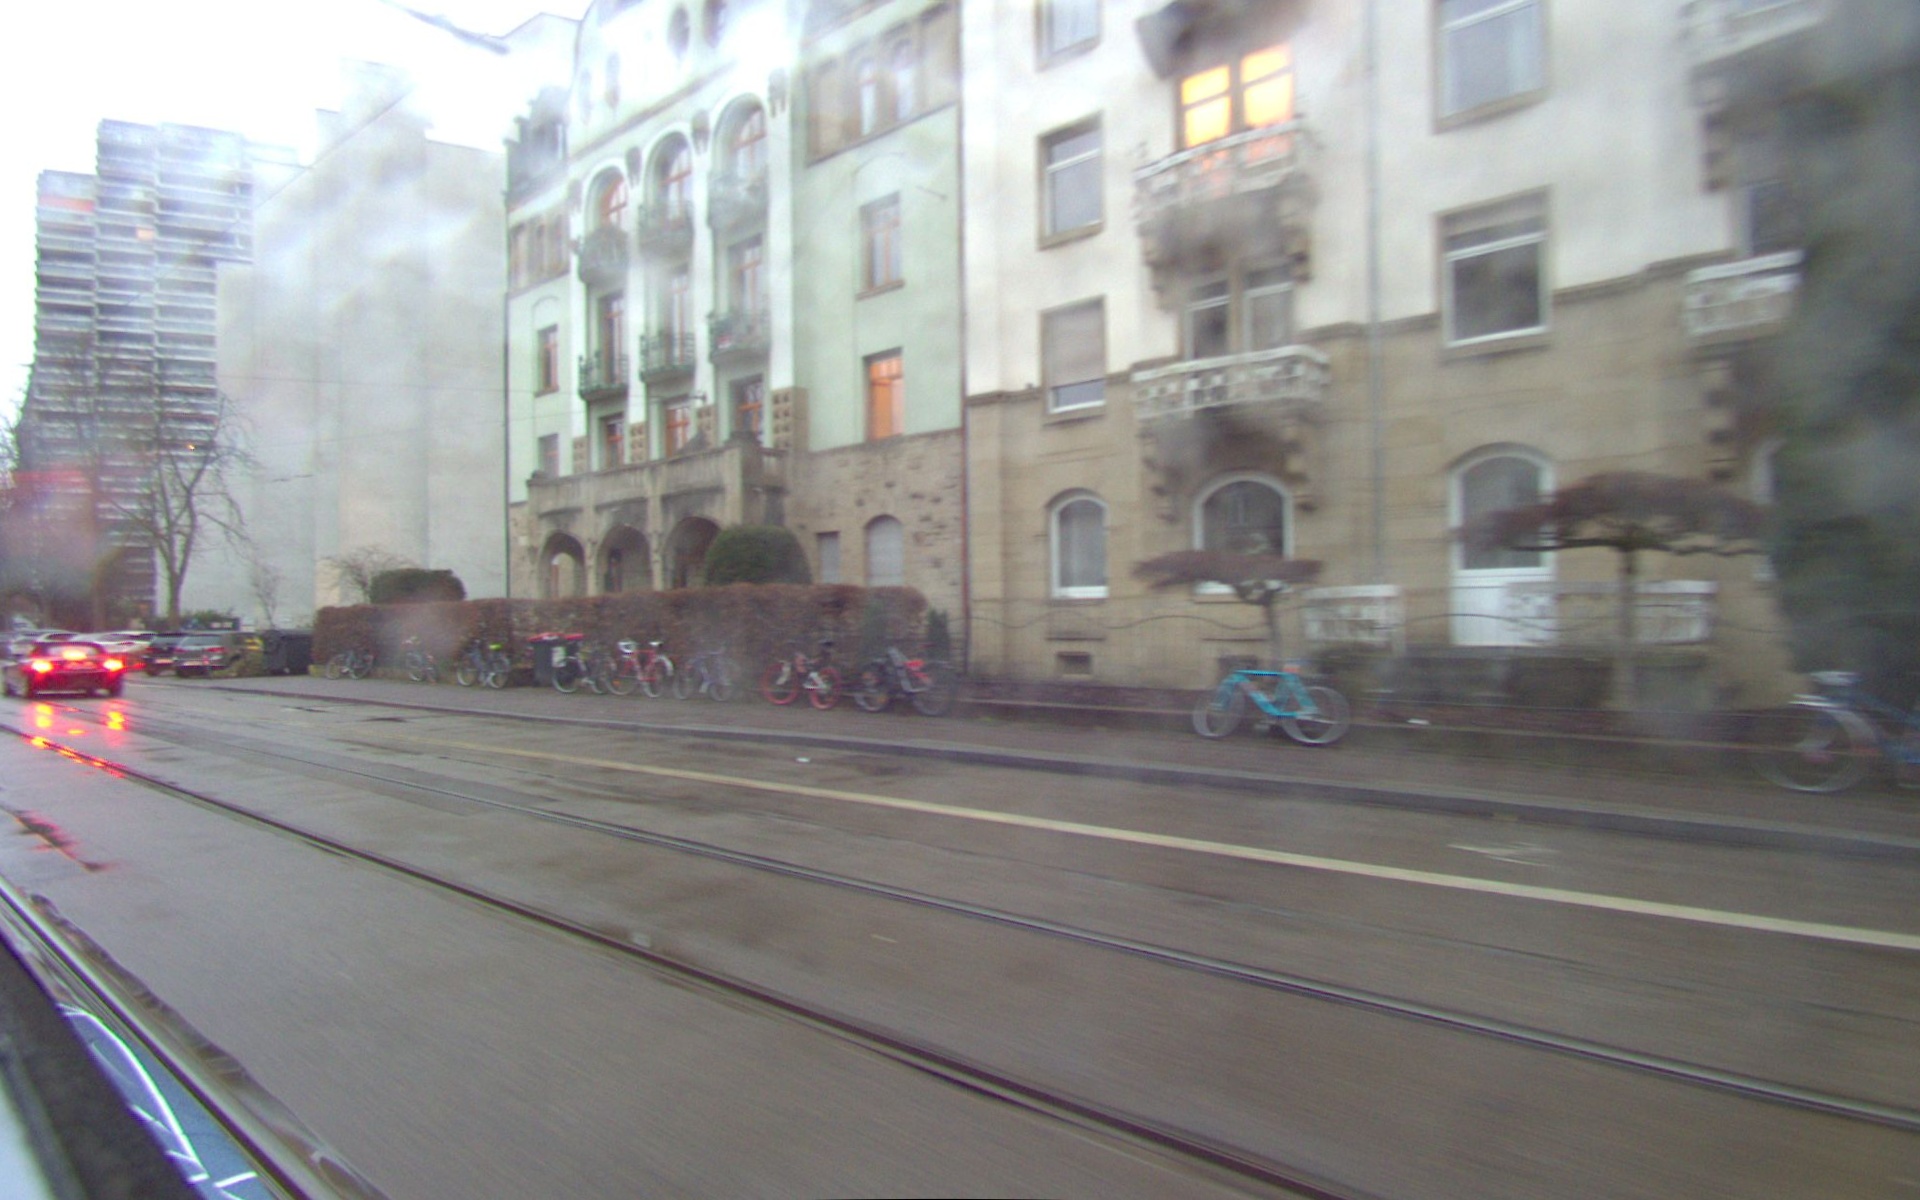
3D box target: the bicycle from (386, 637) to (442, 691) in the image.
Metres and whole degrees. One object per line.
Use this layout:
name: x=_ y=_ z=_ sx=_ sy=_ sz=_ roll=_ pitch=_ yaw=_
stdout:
bicycle: x=-12.763 y=1.472 z=23.636 sx=1.662 sy=1.221 sz=0.617 roll=-2 pitch=-2 yaw=42

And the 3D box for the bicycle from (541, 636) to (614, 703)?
bicycle: x=-7.362 y=1.306 z=19.424 sx=1.662 sy=1.221 sz=0.617 roll=-2 pitch=-2 yaw=42

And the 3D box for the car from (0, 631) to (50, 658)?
car: x=-59.079 y=2.759 z=62.629 sx=1.844 sy=1.608 sz=3.997 roll=-1 pitch=-1 yaw=2

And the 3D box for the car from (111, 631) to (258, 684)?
car: x=-26.189 y=1.909 z=34.347 sx=1.844 sy=1.608 sz=3.997 roll=-1 pitch=-1 yaw=2

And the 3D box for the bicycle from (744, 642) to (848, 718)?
bicycle: x=-2.509 y=1.185 z=15.381 sx=1.726 sy=1.073 sz=0.617 roll=-2 pitch=-2 yaw=42

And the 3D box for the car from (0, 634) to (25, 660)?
car: x=-61.119 y=2.977 z=63.152 sx=1.844 sy=1.608 sz=3.997 roll=-1 pitch=-1 yaw=2

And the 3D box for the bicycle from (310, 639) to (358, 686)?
bicycle: x=-16.549 y=1.628 z=26.735 sx=1.662 sy=1.173 sz=0.617 roll=-2 pitch=-1 yaw=42

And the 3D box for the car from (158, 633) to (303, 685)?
car: x=-23.538 y=1.860 z=32.832 sx=1.741 sy=1.497 sz=3.997 roll=-1 pitch=-1 yaw=2

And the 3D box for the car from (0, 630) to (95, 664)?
car: x=-46.719 y=2.374 z=51.549 sx=1.844 sy=1.608 sz=3.997 roll=-1 pitch=-1 yaw=2

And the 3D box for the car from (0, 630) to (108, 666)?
car: x=-44.241 y=2.315 z=49.439 sx=1.844 sy=1.608 sz=3.997 roll=-1 pitch=-1 yaw=2

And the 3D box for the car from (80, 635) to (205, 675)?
car: x=-33.592 y=2.244 z=41.728 sx=1.844 sy=1.460 sz=3.997 roll=-1 pitch=-1 yaw=2

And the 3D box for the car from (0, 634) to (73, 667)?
car: x=-49.019 y=2.628 z=52.856 sx=1.844 sy=1.608 sz=3.997 roll=-1 pitch=-1 yaw=2

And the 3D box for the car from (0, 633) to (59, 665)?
car: x=-51.117 y=2.633 z=54.335 sx=1.844 sy=1.608 sz=3.997 roll=-1 pitch=-1 yaw=2

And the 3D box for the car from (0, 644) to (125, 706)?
car: x=-20.283 y=1.628 z=22.755 sx=3.663 sy=1.262 sz=1.689 roll=-2 pitch=-2 yaw=40

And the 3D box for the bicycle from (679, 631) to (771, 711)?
bicycle: x=-3.848 y=1.130 z=16.509 sx=1.662 sy=1.221 sz=0.617 roll=-2 pitch=-2 yaw=42

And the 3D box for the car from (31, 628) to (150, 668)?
car: x=-39.000 y=2.126 z=45.520 sx=1.844 sy=1.608 sz=3.997 roll=-1 pitch=-1 yaw=2

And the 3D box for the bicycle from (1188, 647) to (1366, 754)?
bicycle: x=3.298 y=1.010 z=10.628 sx=1.662 sy=1.010 sz=0.617 roll=-2 pitch=-2 yaw=42

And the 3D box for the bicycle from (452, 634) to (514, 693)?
bicycle: x=-10.383 y=1.357 z=22.004 sx=1.662 sy=1.221 sz=0.617 roll=-2 pitch=-2 yaw=42

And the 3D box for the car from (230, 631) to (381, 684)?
car: x=-20.876 y=1.806 z=32.472 sx=1.849 sy=1.505 sz=3.986 roll=-1 pitch=-1 yaw=11

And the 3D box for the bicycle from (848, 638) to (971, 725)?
bicycle: x=-0.731 y=1.098 z=14.067 sx=1.782 sy=1.134 sz=0.617 roll=-2 pitch=-2 yaw=42

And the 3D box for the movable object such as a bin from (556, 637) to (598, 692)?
movable object such as a bin: x=-8.364 y=1.401 z=22.098 sx=0.674 sy=1.173 sz=0.617 roll=-2 pitch=-2 yaw=42

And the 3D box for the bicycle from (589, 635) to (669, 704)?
bicycle: x=-5.959 y=1.228 z=18.159 sx=1.662 sy=1.173 sz=0.617 roll=-2 pitch=-2 yaw=42

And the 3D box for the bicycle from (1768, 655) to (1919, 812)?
bicycle: x=7.097 y=0.976 z=7.509 sx=1.662 sy=1.101 sz=0.617 roll=-2 pitch=-2 yaw=42

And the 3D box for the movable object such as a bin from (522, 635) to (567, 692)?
movable object such as a bin: x=-8.858 y=1.351 z=21.583 sx=0.674 sy=1.173 sz=0.651 roll=-2 pitch=-2 yaw=42
